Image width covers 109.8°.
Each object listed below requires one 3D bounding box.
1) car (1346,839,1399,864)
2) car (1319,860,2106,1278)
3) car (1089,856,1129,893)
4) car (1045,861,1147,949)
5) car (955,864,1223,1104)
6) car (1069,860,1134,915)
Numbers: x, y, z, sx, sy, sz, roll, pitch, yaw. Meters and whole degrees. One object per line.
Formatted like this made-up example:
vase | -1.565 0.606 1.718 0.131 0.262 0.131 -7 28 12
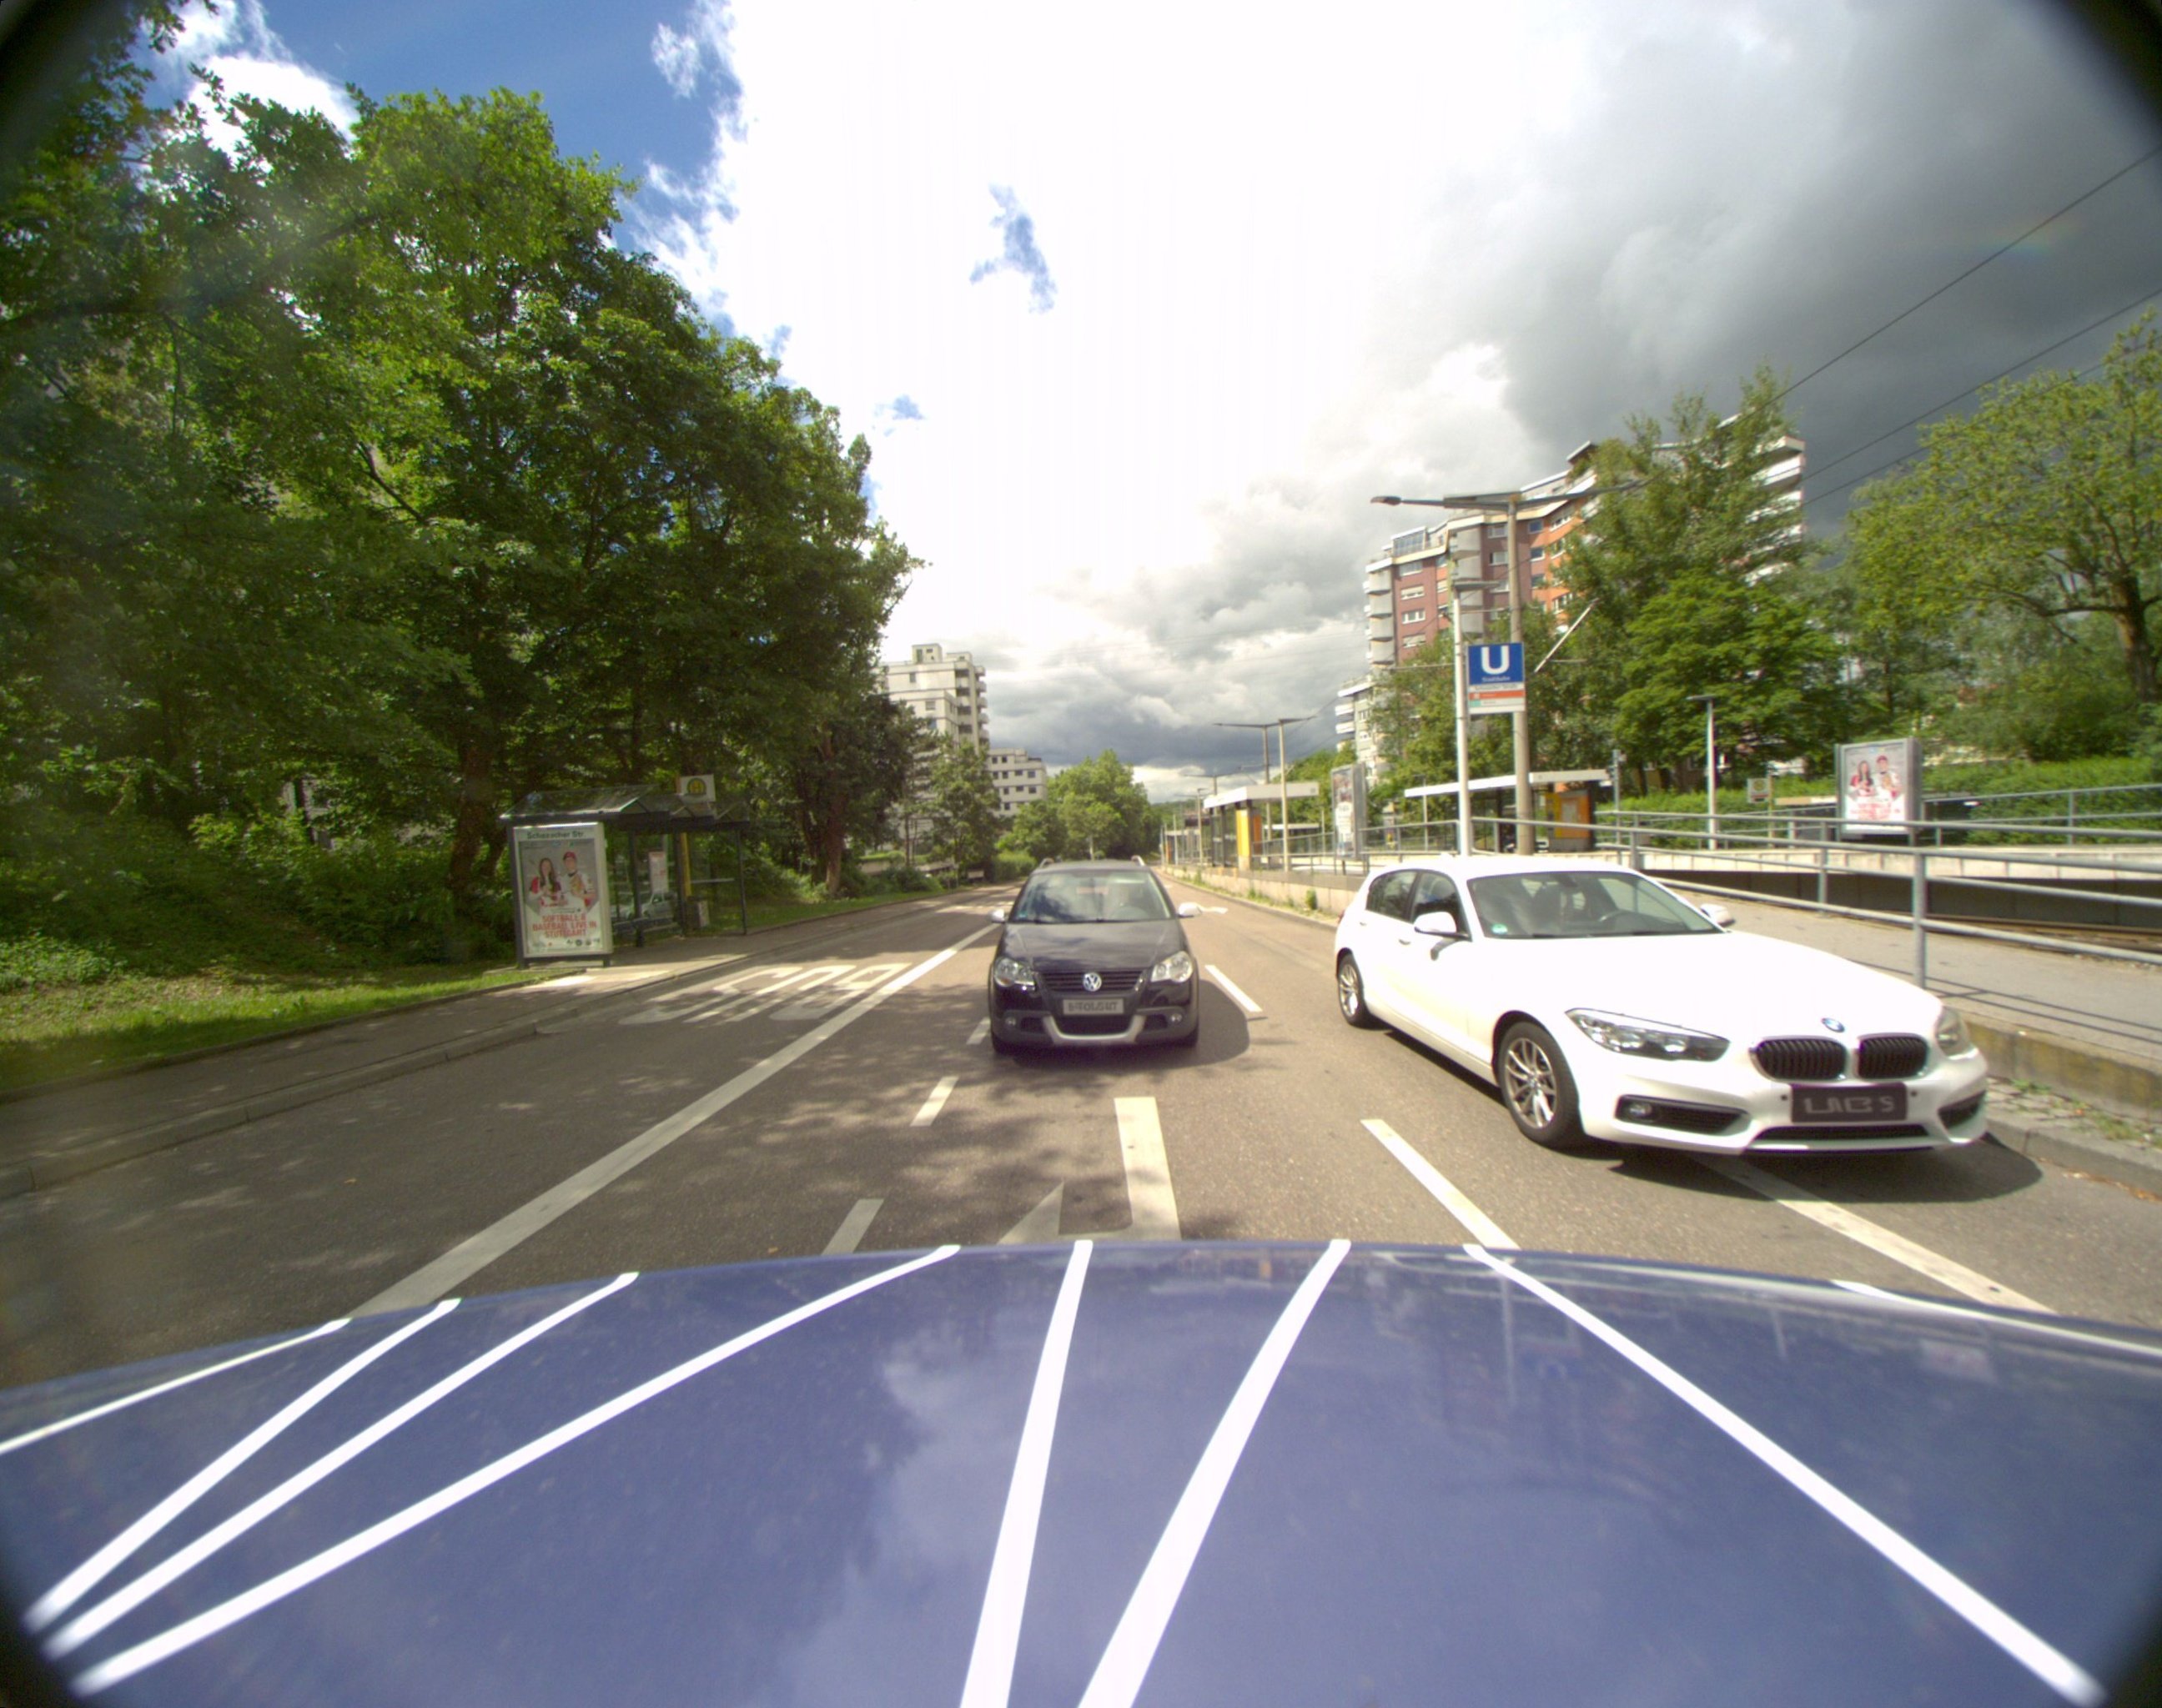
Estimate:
car | 19.901 -0.193 52.049 1.998 1.625 4.460 -1 0 2
car | 3.021 0.837 4.877 1.732 1.453 4.000 -2 1 1
car | 1.287 0.917 35.936 1.732 1.505 4.000 -2 1 1
car | 0.297 0.918 15.351 1.732 1.453 4.000 -2 0 1
car | 0.086 0.899 7.079 1.732 1.501 4.000 -2 0 1
car | 0.677 0.950 23.145 1.732 1.452 4.001 -2 0 3
